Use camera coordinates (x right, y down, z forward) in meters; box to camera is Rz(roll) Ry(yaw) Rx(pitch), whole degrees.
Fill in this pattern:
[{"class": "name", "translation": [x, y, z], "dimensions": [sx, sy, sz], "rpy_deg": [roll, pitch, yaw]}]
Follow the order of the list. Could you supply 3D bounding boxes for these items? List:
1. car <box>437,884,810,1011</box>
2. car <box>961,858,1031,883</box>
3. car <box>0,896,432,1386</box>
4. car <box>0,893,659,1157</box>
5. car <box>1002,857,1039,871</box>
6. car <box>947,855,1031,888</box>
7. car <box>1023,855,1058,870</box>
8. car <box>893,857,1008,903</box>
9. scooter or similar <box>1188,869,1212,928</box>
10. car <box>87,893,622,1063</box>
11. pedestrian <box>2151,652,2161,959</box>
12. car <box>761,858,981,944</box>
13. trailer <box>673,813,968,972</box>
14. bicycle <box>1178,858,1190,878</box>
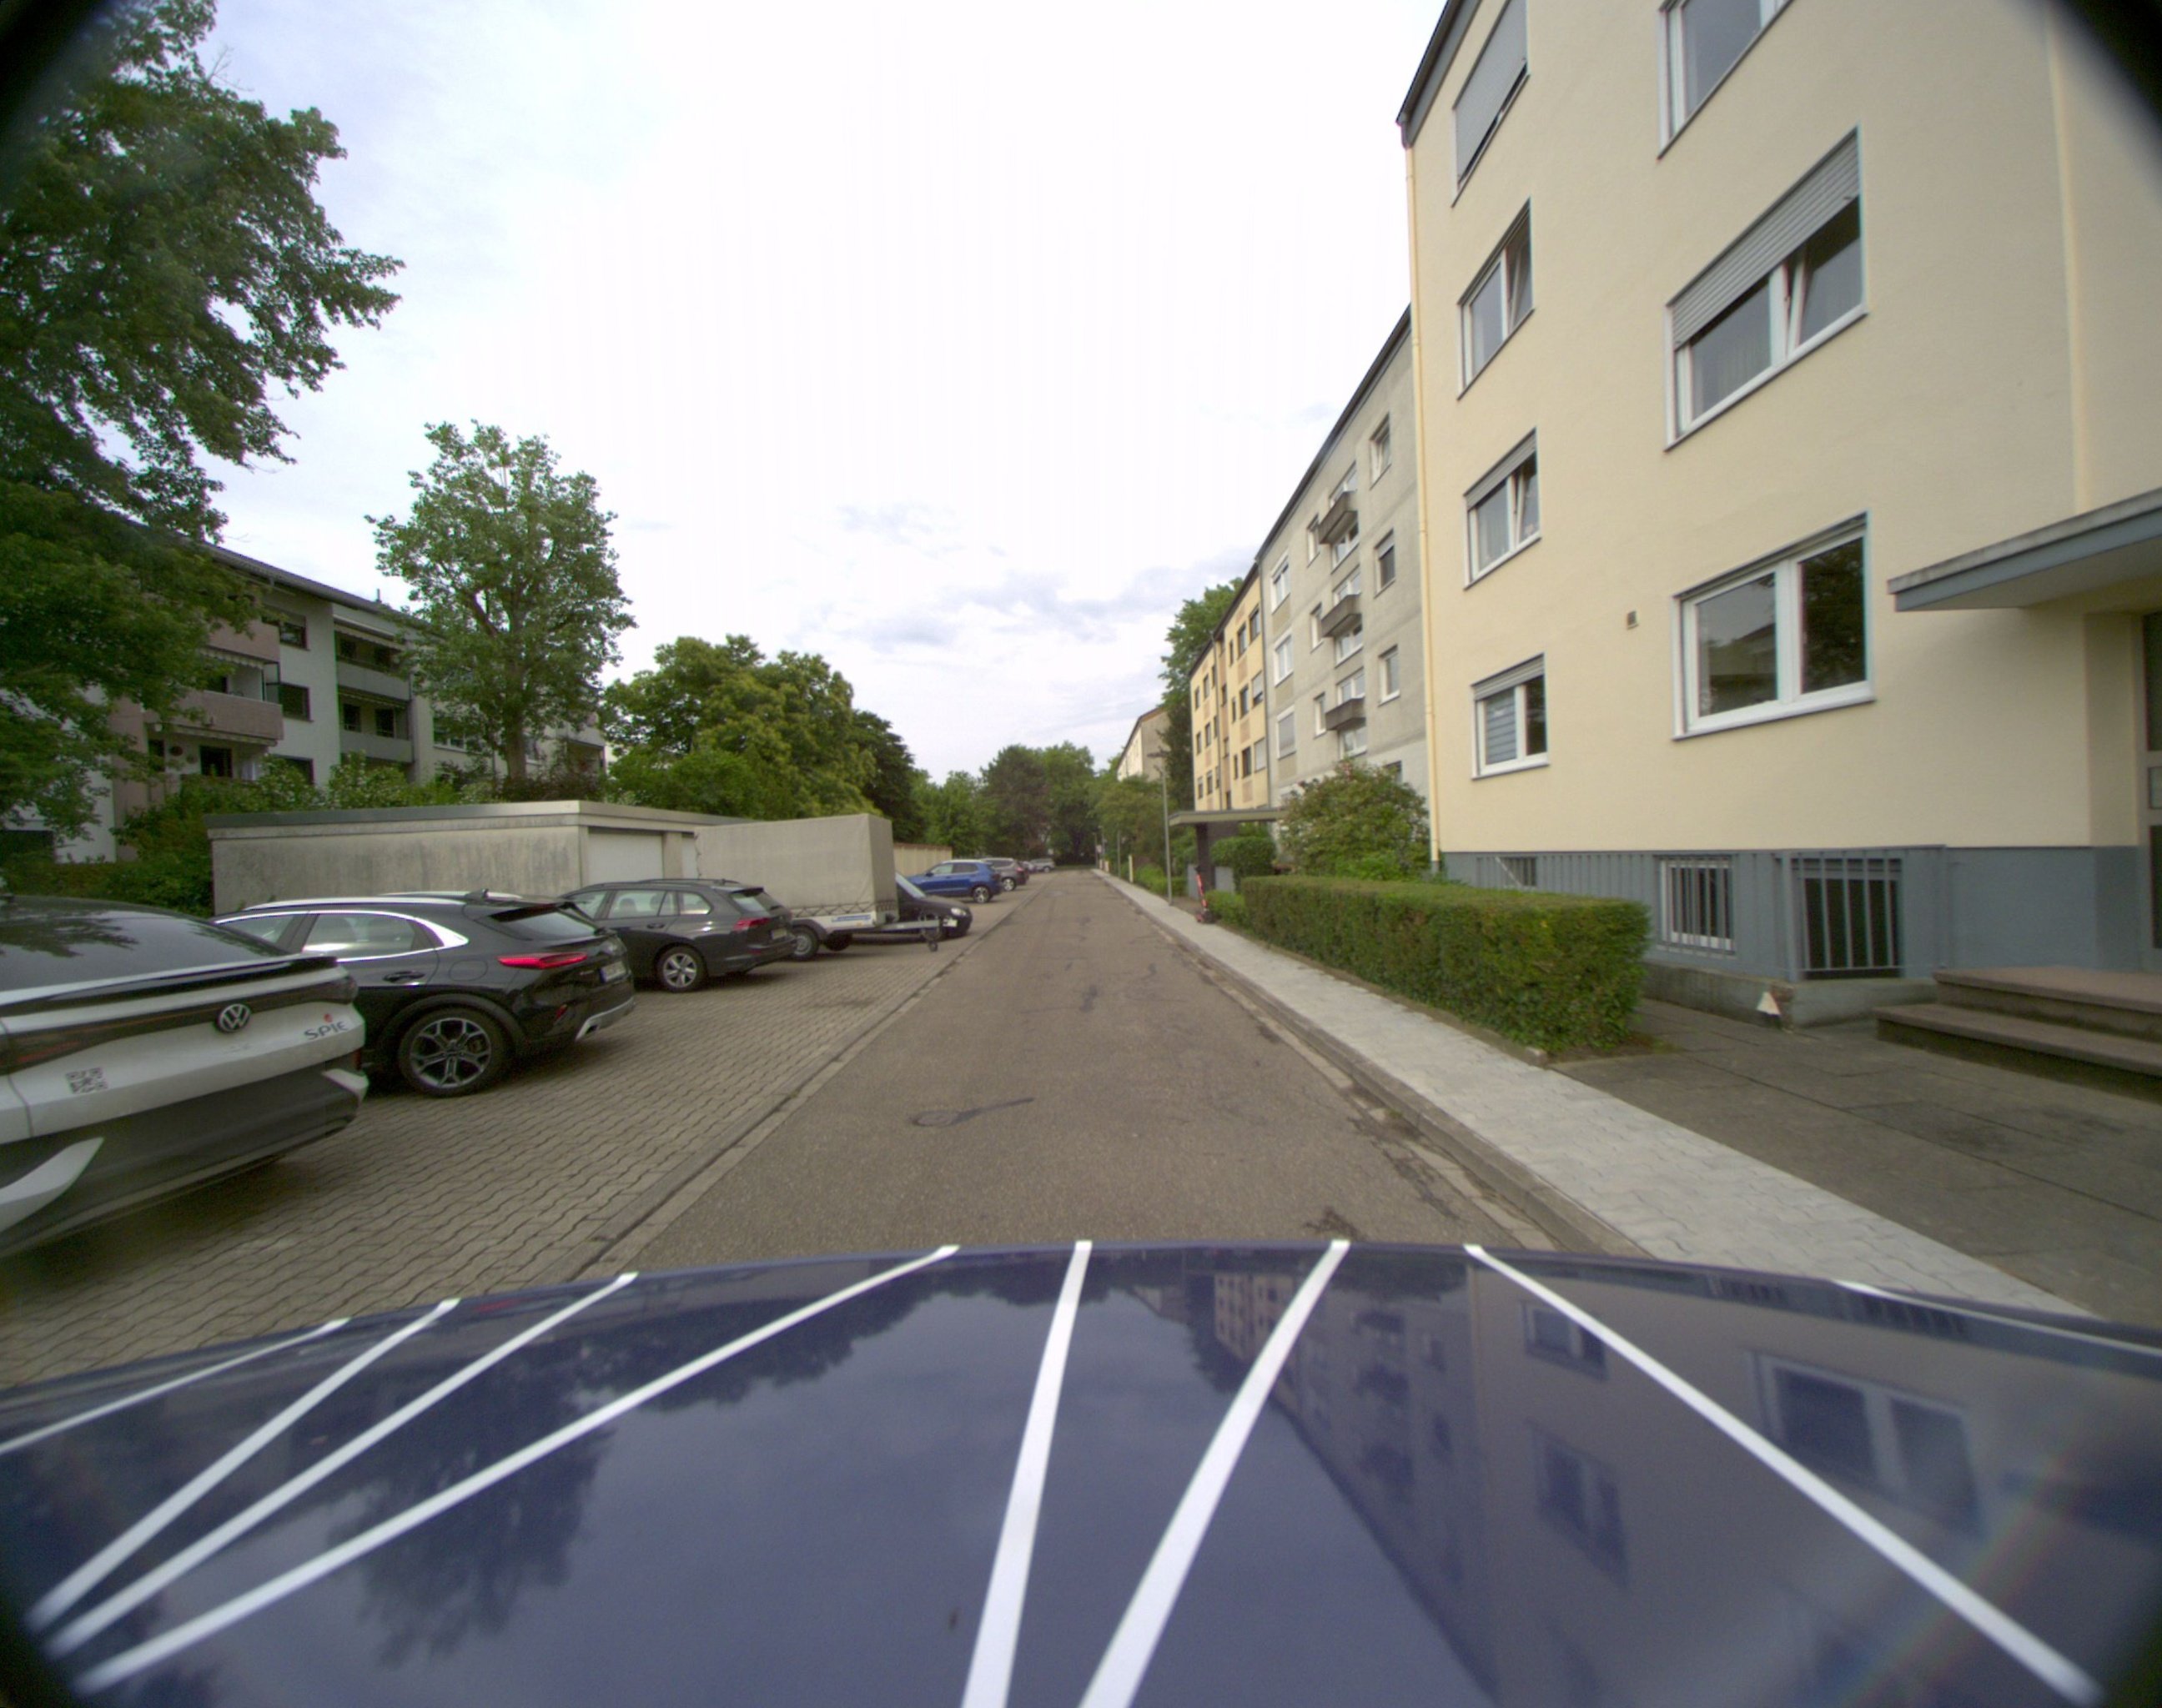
[{"class": "car", "translation": [-6.160, 1.234, 10.567], "dimensions": [4.138, 1.440, 1.612], "rpy_deg": [-2, 0, -1]}, {"class": "car", "translation": [-5.392, 1.028, 48.469], "dimensions": [4.299, 1.577, 1.935], "rpy_deg": [0, 0, -1]}, {"class": "car", "translation": [-5.952, 1.099, 3.301], "dimensions": [4.548, 1.579, 1.988], "rpy_deg": [-2, 0, 1]}, {"class": "car", "translation": [-5.853, 1.142, 5.950], "dimensions": [4.000, 1.543, 1.998], "rpy_deg": [0, 0, -9]}, {"class": "car", "translation": [-6.867, 1.157, 86.352], "dimensions": [4.104, 1.476, 1.787], "rpy_deg": [-1, 0, -2]}, {"class": "car", "translation": [-4.796, 0.924, 40.219], "dimensions": [4.206, 1.717, 2.000], "rpy_deg": [0, 0, -1]}, {"class": "car", "translation": [-4.896, 1.043, 91.274], "dimensions": [4.104, 1.636, 1.787], "rpy_deg": [-1, 0, -2]}, {"class": "car", "translation": [-4.851, 0.962, 28.691], "dimensions": [3.997, 1.693, 2.000], "rpy_deg": [0, 0, -1]}, {"class": "scooter or similar", "translation": [2.538, 0.932, 16.240], "dimensions": [0.273, 1.203, 1.164], "rpy_deg": [-2, 0, -1]}, {"class": "car", "translation": [-7.584, 1.252, 8.257], "dimensions": [4.005, 1.440, 1.915], "rpy_deg": [-2, 0, 2]}, {"class": "pedestrian", "translation": [5.514, -0.101, 3.287], "dimensions": [0.681, 1.739, 0.756], "rpy_deg": [-3, 1, -6]}, {"class": "car", "translation": [-4.492, 0.980, 16.786], "dimensions": [4.322, 1.791, 2.000], "rpy_deg": [0, 0, -1]}, {"class": "trailer", "translation": [-4.585, 0.665, 13.918], "dimensions": [4.621, 2.510, 1.942], "rpy_deg": [-3, 0, 0]}, {"class": "bicycle", "translation": [5.473, 0.773, 40.504], "dimensions": [0.315, 1.045, 1.691], "rpy_deg": [-2, -1, -2]}]
